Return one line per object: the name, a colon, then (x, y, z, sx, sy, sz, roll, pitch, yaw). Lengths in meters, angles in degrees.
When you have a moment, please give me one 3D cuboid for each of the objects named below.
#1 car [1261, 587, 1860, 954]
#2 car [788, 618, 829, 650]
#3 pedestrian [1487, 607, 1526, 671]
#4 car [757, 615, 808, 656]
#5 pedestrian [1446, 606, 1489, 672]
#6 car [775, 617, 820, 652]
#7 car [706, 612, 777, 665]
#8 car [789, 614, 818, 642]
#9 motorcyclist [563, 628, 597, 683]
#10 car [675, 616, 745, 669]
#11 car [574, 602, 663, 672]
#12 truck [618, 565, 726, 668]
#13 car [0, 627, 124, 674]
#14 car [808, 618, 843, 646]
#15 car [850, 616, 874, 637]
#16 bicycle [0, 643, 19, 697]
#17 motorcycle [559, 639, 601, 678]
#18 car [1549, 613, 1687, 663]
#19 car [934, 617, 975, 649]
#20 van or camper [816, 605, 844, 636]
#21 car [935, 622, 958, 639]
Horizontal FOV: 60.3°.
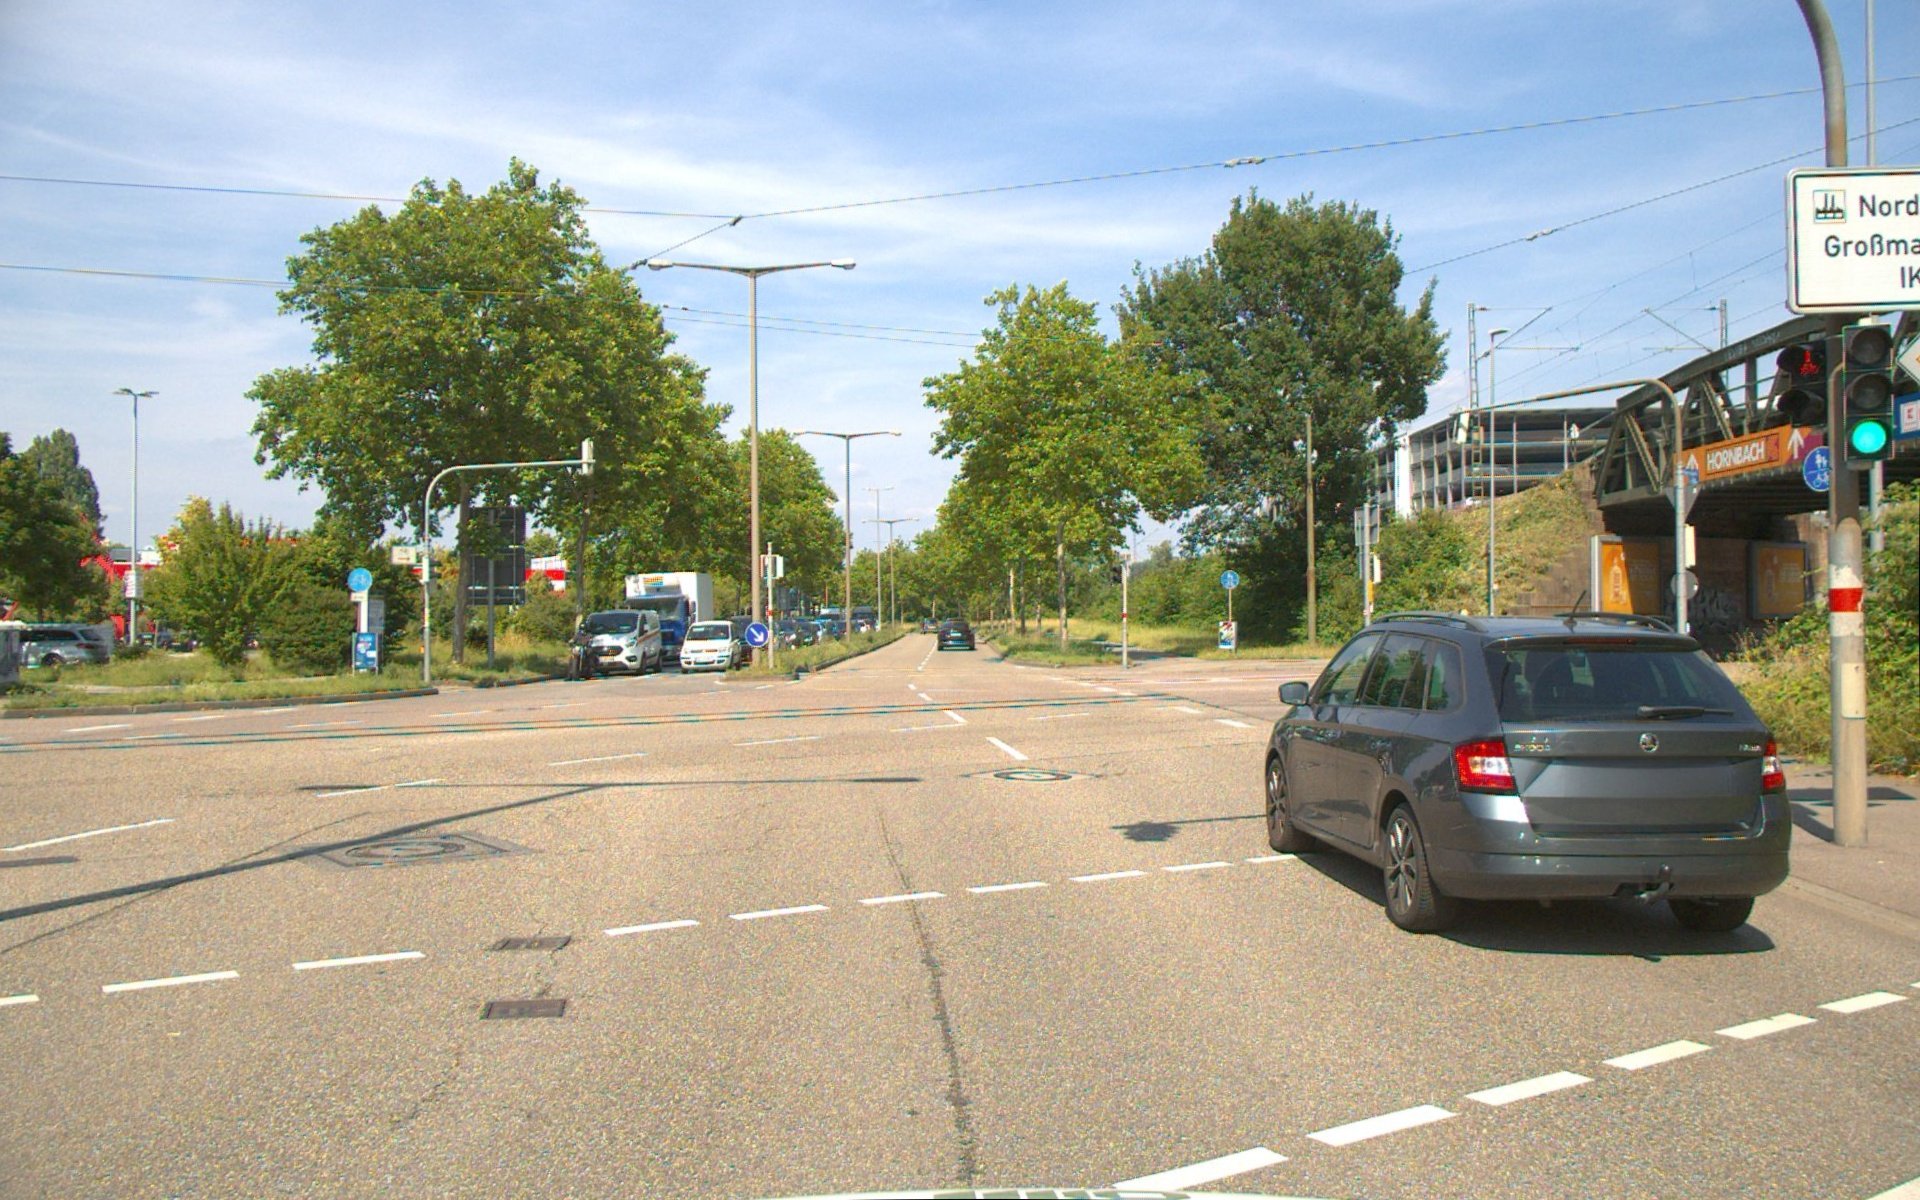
car: (2.828, 0.713, 8.778, 1.640, 1.479, 4.035, 1, 0, -1)
car: (-7.560, 1.673, 82.689, 1.654, 1.497, 3.814, -2, 0, 0)
pedestrian: (13.972, 0.989, 42.271, 0.714, 1.607, 0.777, 0, -1, -1)
car: (-7.440, 1.485, 69.699, 1.654, 1.614, 4.239, -2, 0, 0)
pedestrian: (12.924, 0.988, 42.128, 0.850, 1.640, 0.777, 0, -1, -1)
car: (-7.542, 1.583, 77.053, 1.654, 1.499, 4.217, -3, 0, 0)
car: (-7.366, 1.310, 56.244, 1.783, 1.675, 4.693, -2, -2, 0)
car: (-11.021, 1.979, 116.626, 1.654, 1.891, 4.035, -2, -1, 0)
motorcyclist: (-10.575, 1.549, 46.046, 0.728, 1.496, 0.987, 0, -1, -1)
car: (-7.576, 1.274, 50.451, 1.560, 1.503, 3.729, -2, 0, 0)
car: (-10.473, 1.087, 51.046, 1.937, 2.034, 5.028, 0, 0, -3)
truck: (-10.599, 0.586, 61.466, 2.747, 3.532, 6.690, -2, 0, -1)
car: (-29.232, 1.593, 52.332, 4.476, 1.439, 2.197, 0, -1, -8)
car: (-7.722, 1.814, 95.381, 1.748, 1.515, 4.210, -2, 0, -2)
car: (-7.669, 2.079, 129.509, 1.654, 1.537, 3.814, -2, 0, 0)
bicycle: (-19.626, 1.405, 32.746, 0.581, 1.055, 1.897, -1, -1, 14)
motorcycle: (-10.542, 1.606, 45.951, 0.674, 1.009, 2.217, 0, 0, 0)
car: (20.318, 1.145, 51.031, 4.453, 1.433, 1.974, 0, -1, -37)
car: (-0.297, 1.591, 80.732, 1.869, 1.489, 4.620, 0, 0, -1)
van or camper: (-11.308, 1.749, 143.726, 1.974, 2.633, 5.516, -2, 0, 0)
car: (-1.261, 2.842, 154.097, 1.870, 1.489, 4.579, 0, 0, -4)
